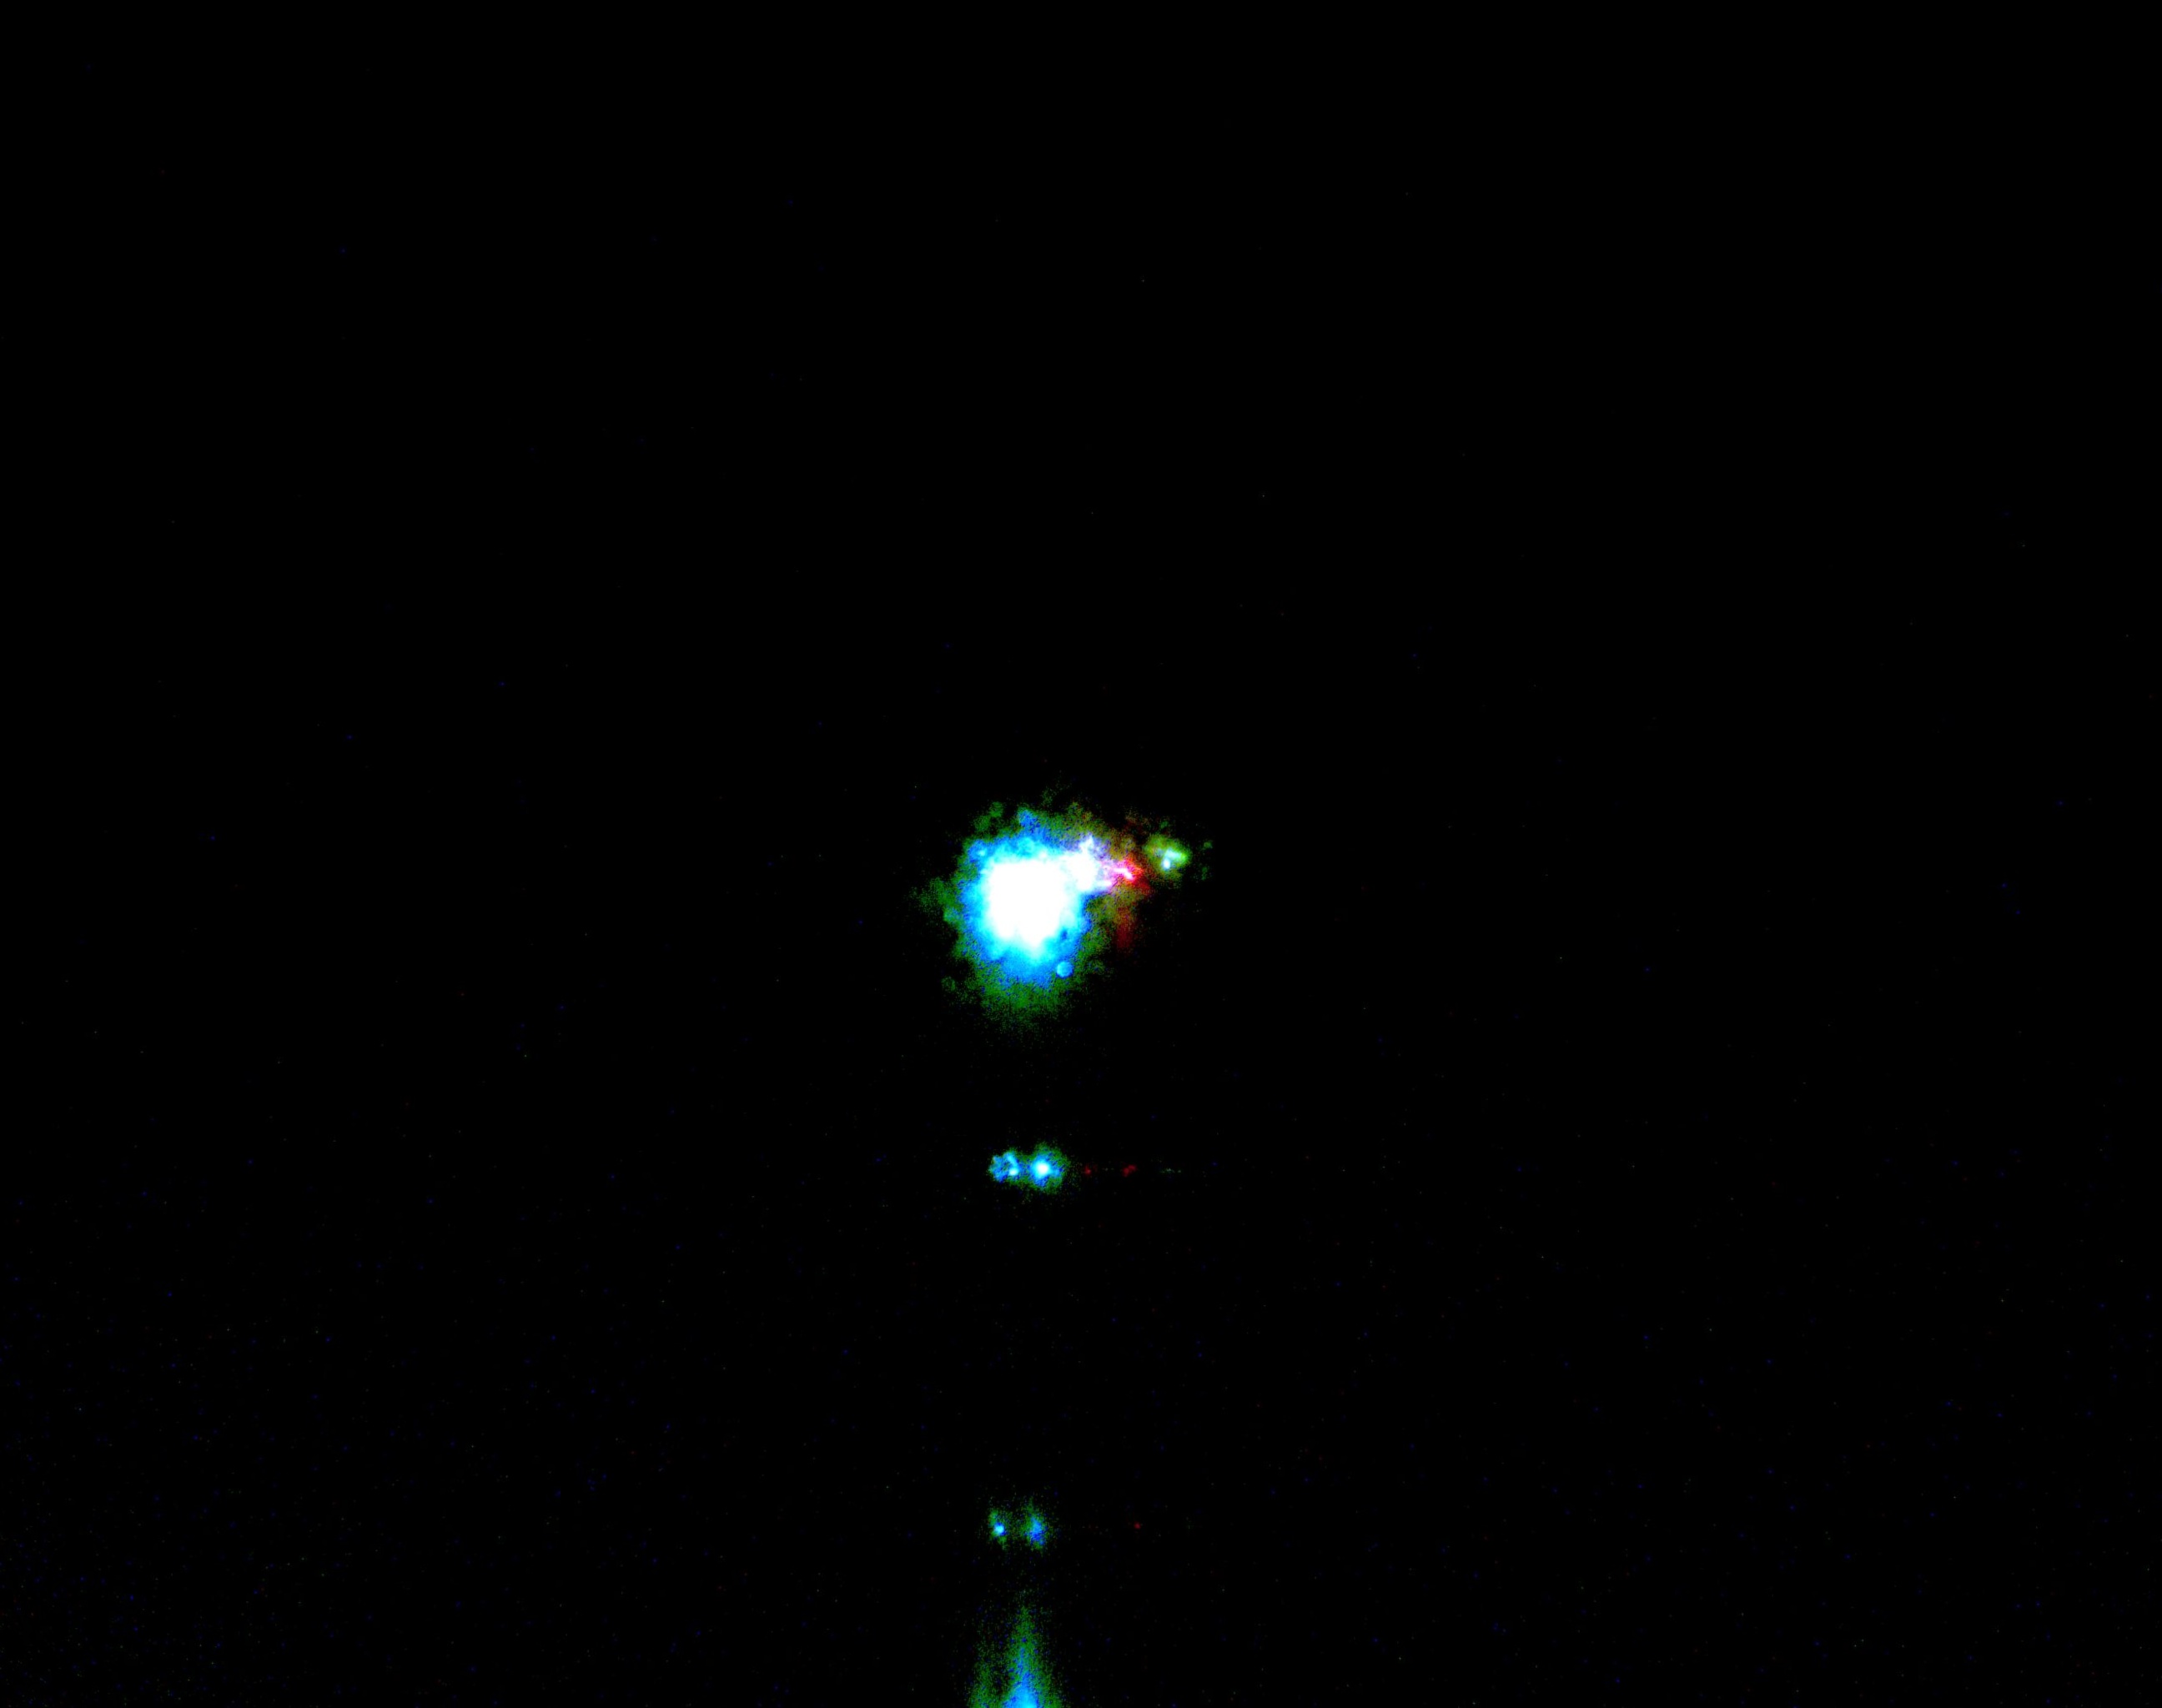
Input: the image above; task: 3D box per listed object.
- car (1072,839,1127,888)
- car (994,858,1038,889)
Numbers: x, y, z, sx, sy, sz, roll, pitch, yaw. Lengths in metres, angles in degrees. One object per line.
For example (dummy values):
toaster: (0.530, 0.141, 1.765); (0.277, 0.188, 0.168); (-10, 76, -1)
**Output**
car: (0.646, 0.331, 28.788); (1.802, 1.622, 4.000); (-1, -1, 1)
car: (-3.119, 0.927, 39.916); (1.989, 1.474, 4.271); (0, -1, -3)
